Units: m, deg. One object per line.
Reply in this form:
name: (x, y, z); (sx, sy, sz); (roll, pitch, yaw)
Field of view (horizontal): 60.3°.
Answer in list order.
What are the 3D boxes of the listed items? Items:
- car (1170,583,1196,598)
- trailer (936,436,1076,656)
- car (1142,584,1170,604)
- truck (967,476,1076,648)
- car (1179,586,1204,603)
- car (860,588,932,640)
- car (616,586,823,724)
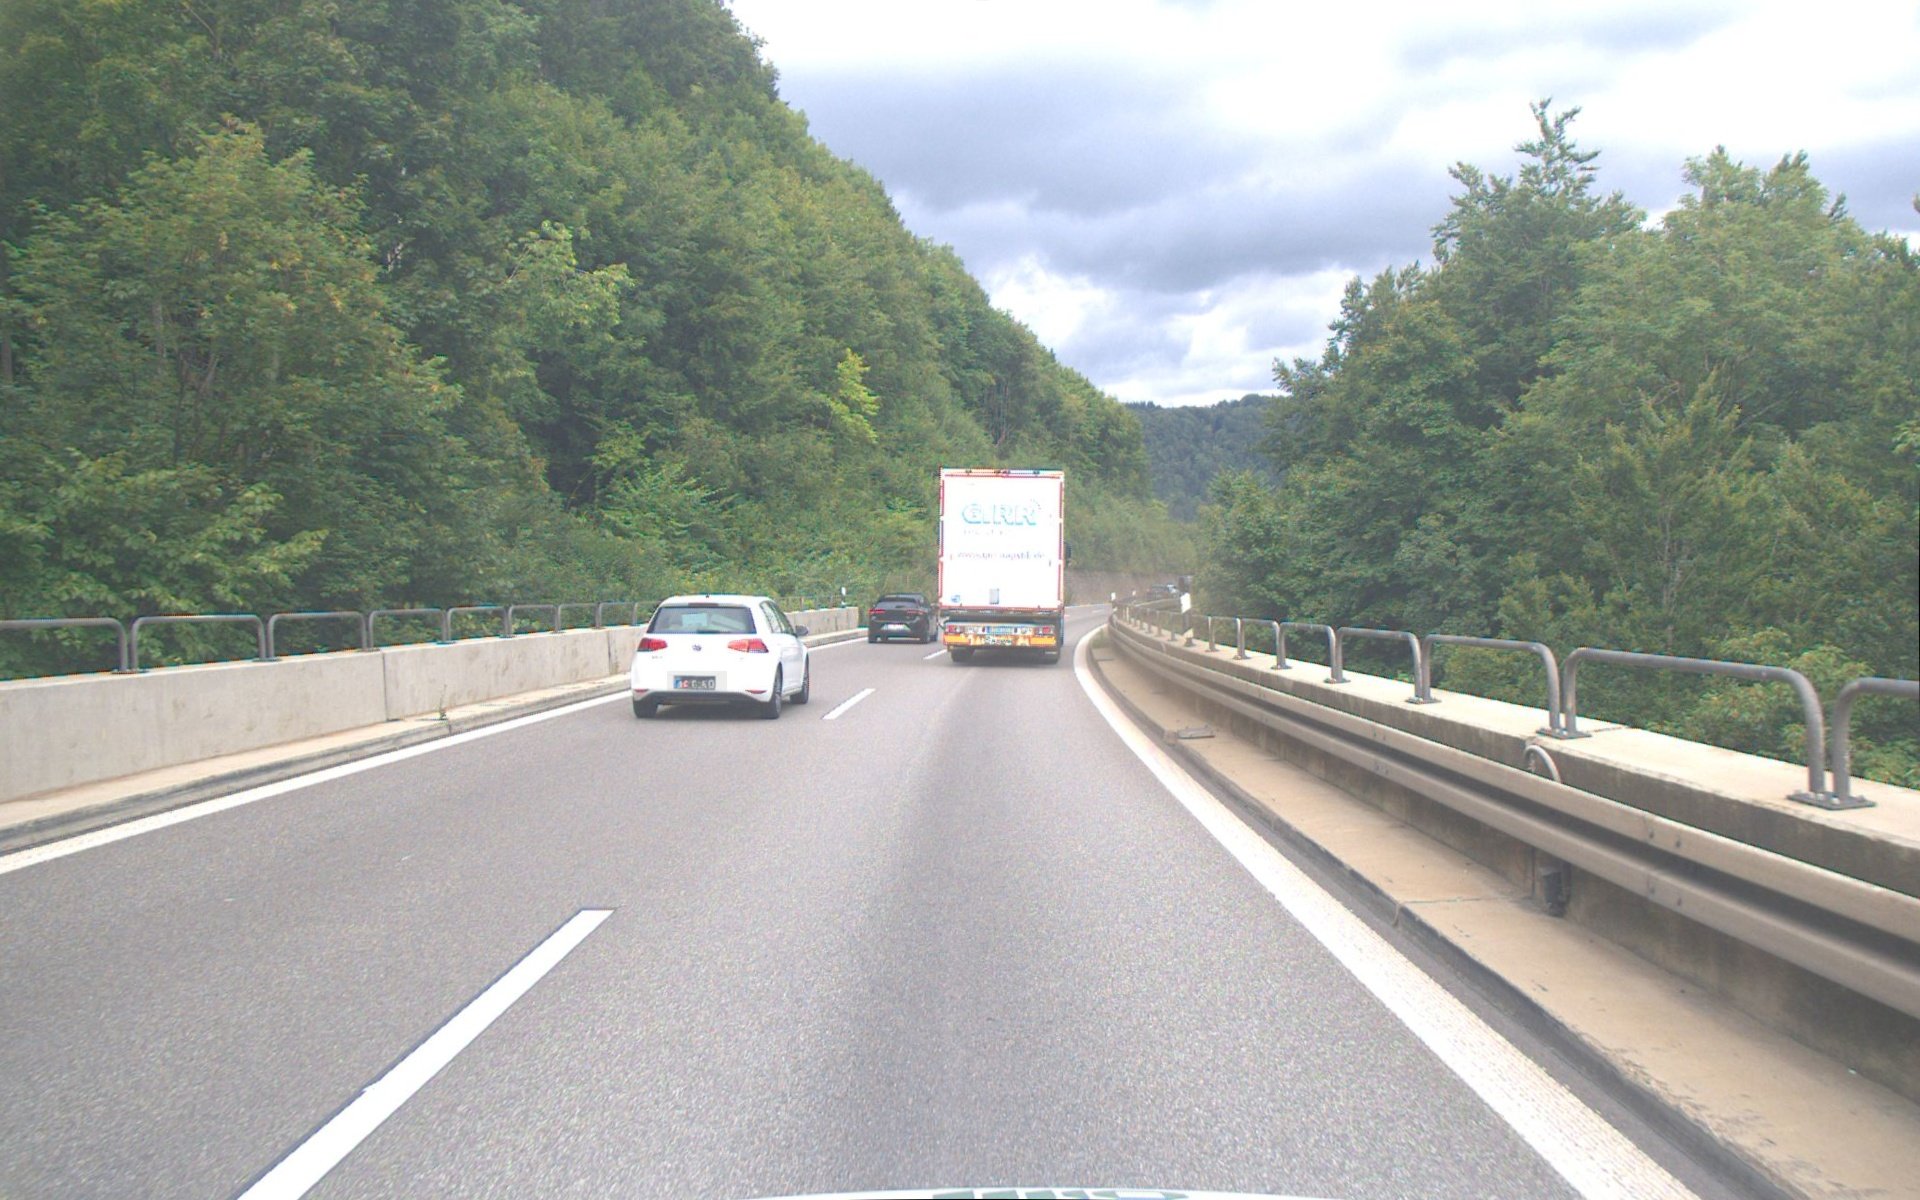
car: (22.288, -0.953, 165.301); (1.951, 1.512, 4.002); (1, 0, 16)
trailer: (1.345, -1.007, 39.295); (2.754, 4.378, 12.250); (-1, -1, 4)
car: (16.891, -0.469, 142.115); (1.951, 1.593, 4.003); (-1, -1, 13)
truck: (1.807, -0.943, 45.782); (2.754, 4.378, 6.261); (-1, -1, 4)
car: (25.692, -0.573, 183.279); (1.952, 1.814, 4.001); (1, 0, 19)
car: (-1.864, 0.422, 49.402); (1.736, 1.486, 4.583); (0, 0, 3)
car: (-2.905, 0.603, 20.972); (1.806, 1.507, 4.629); (-1, 1, 2)
